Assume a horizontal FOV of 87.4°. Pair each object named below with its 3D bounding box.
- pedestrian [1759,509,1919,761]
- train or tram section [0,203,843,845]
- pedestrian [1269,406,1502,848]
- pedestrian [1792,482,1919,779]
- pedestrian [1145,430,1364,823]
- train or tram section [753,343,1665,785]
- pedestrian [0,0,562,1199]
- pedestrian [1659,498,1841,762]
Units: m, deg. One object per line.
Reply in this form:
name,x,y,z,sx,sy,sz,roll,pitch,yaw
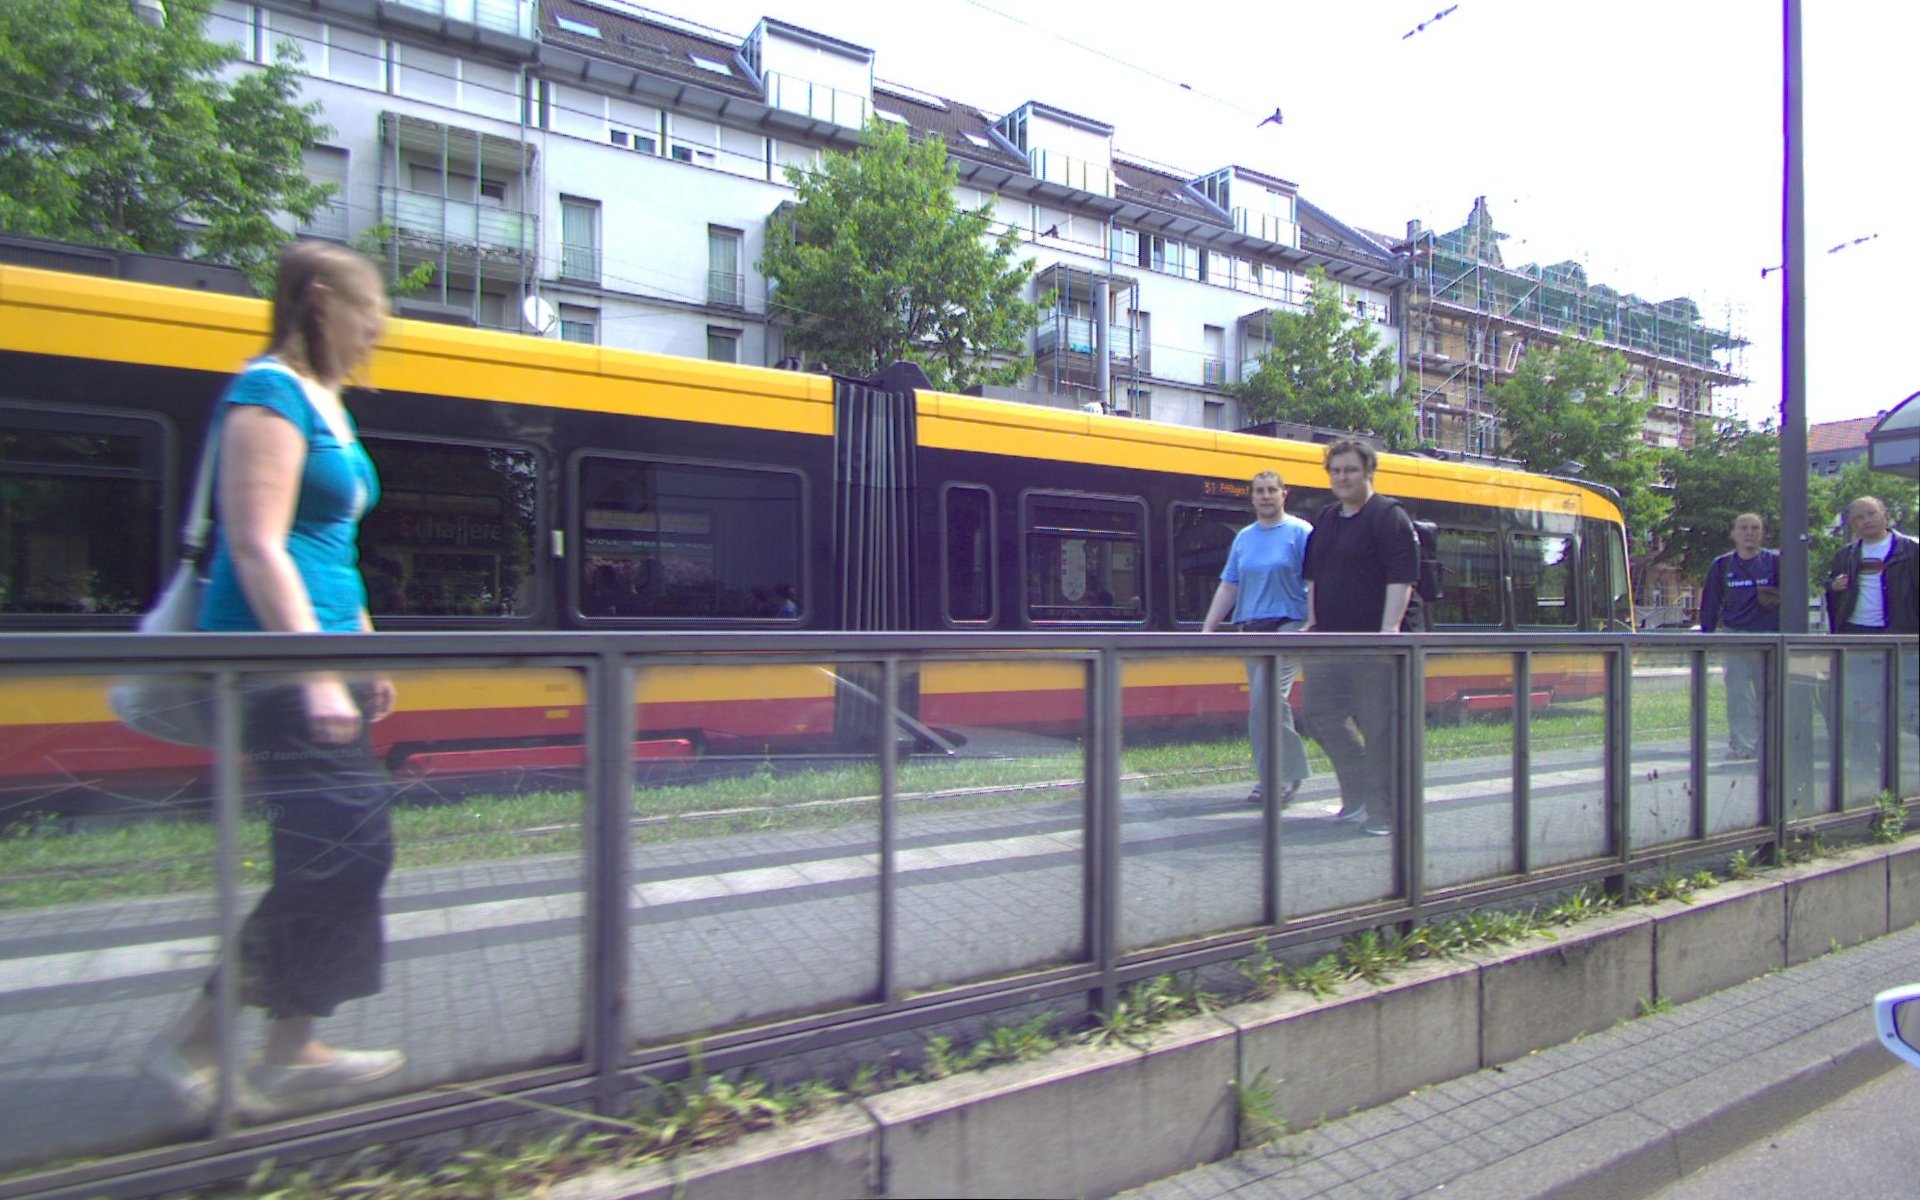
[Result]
pedestrian,7.261,0.269,8.034,1.477,1.824,0.882,1,-1,-30
train or tram section,-6.098,-0.416,6.893,10.278,3.632,2.783,1,-1,-30
pedestrian,2.006,0.125,4.761,0.780,1.874,0.698,1,-1,-30
pedestrian,6.448,0.206,6.918,1.019,1.897,0.807,1,-1,-30
pedestrian,1.556,0.138,5.333,0.897,1.874,0.698,1,-1,-30
train or tram section,4.048,-0.192,12.643,12.859,3.632,2.711,1,-1,-30
pedestrian,-1.293,0.039,1.976,0.836,1.924,0.823,1,-1,-29
pedestrian,5.916,0.220,7.530,1.119,1.824,0.708,1,-1,-30
